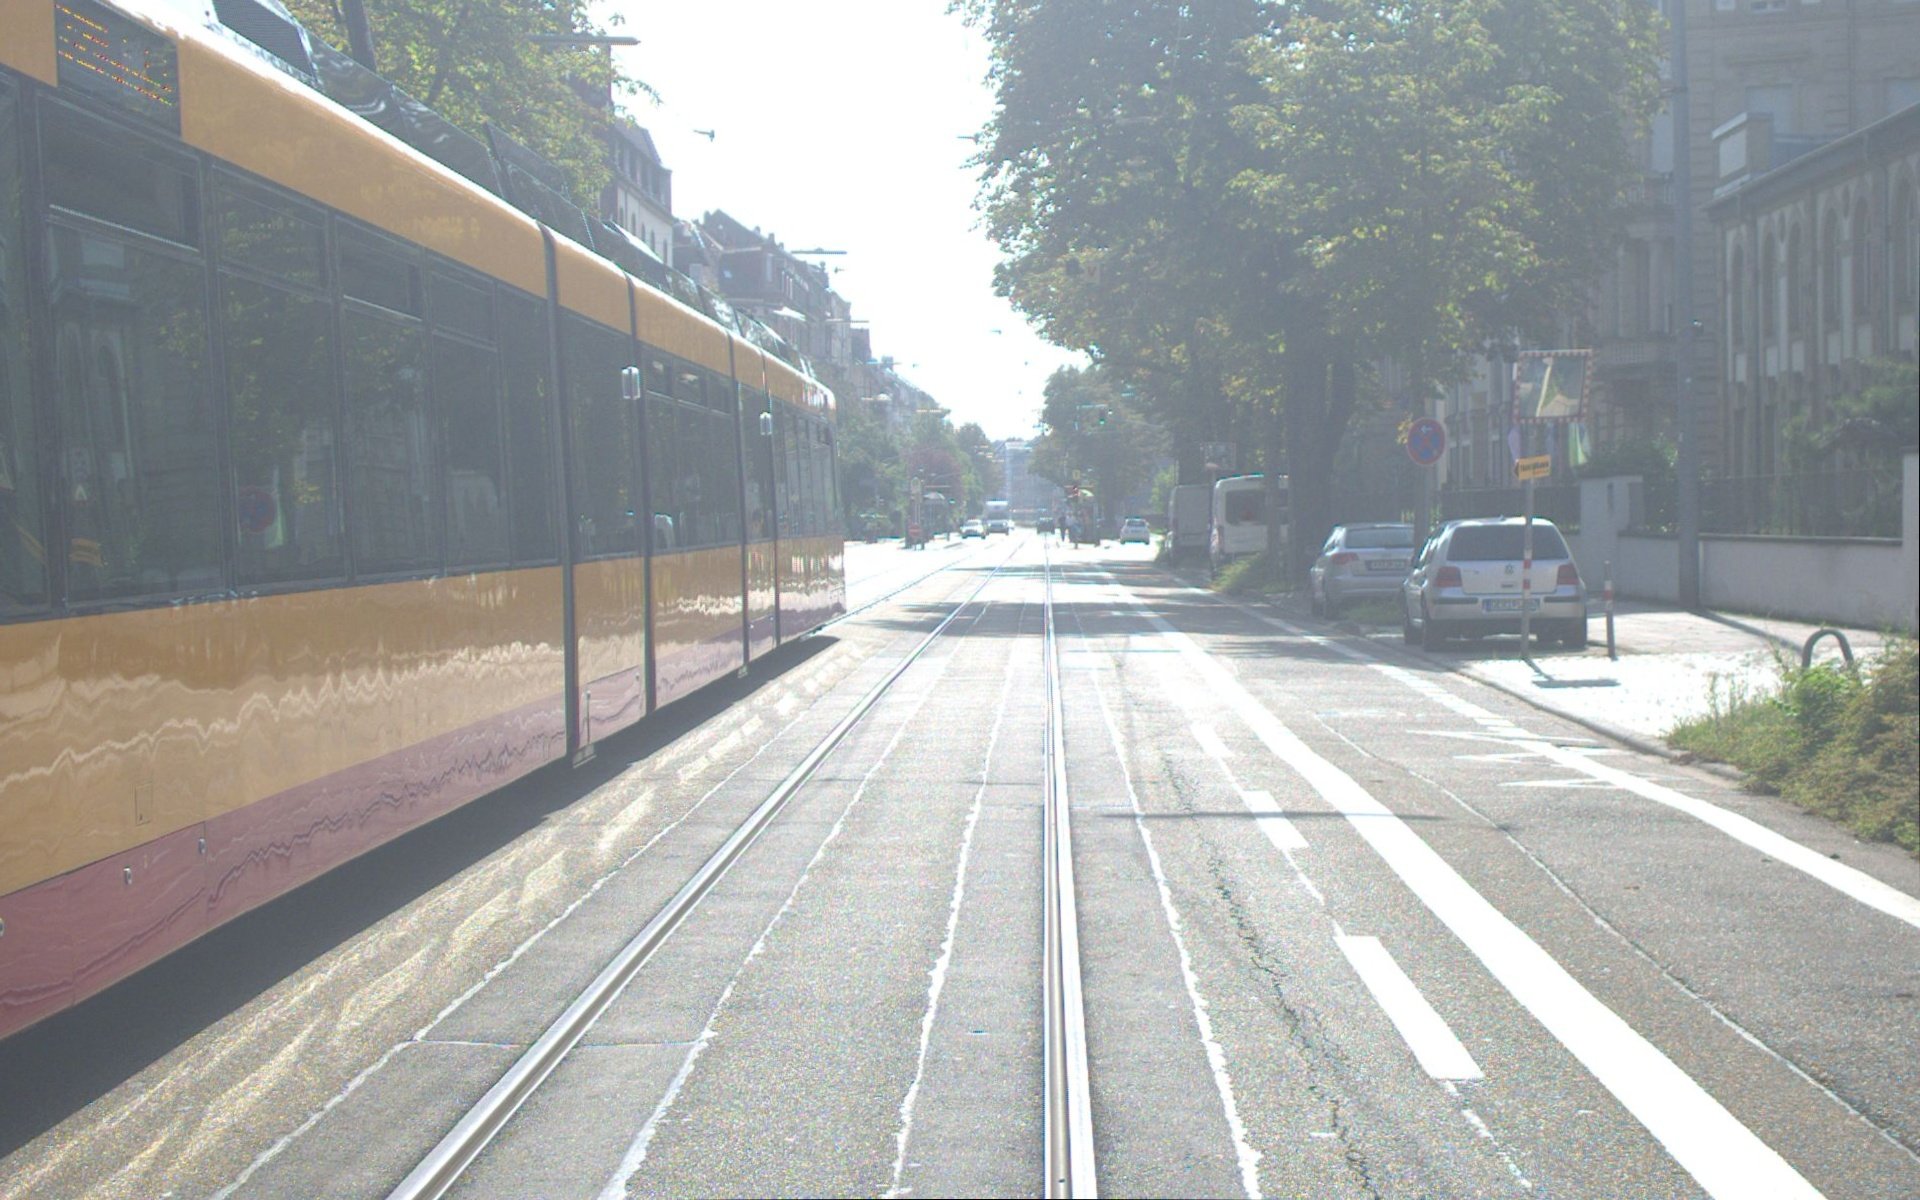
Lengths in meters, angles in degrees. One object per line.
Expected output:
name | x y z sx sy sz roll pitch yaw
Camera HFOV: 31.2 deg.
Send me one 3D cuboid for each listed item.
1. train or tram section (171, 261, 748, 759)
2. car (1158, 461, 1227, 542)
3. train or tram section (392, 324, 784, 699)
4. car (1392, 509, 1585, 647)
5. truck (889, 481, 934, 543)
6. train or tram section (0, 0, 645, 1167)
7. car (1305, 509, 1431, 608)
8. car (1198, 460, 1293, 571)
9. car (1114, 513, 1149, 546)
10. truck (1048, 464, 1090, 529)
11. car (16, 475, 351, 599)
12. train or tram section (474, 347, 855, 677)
train or tram section | -3.087 -0.602 23.077 2.729 2.839 6.543 -1 2 2
car | 7.177 -3.053 106.512 2.005 2.466 4.477 0 2 2
train or tram section | -2.949 -0.723 28.201 2.706 2.847 3.649 -1 1 2
car | 5.740 -0.276 37.673 1.690 1.413 3.634 0 2 2
truck | -2.363 -4.314 168.490 1.993 2.965 4.571 -1 2 1
train or tram section | -3.389 -0.294 12.033 2.729 2.884 15.455 -1 2 2
car | 6.073 -0.648 51.430 1.595 1.413 3.634 0 2 2
car | 6.572 -1.968 79.540 2.005 2.482 4.477 0 2 2
car | 9.898 -4.077 198.944 1.994 1.831 4.000 0 2 3
truck | 5.337 -5.063 168.188 1.860 3.120 4.353 0 2 0
car | -9.411 -0.792 41.864 1.569 1.438 3.754 1 2 42
train or tram section | -2.749 -0.909 35.322 2.680 2.852 10.544 -1 2 2
